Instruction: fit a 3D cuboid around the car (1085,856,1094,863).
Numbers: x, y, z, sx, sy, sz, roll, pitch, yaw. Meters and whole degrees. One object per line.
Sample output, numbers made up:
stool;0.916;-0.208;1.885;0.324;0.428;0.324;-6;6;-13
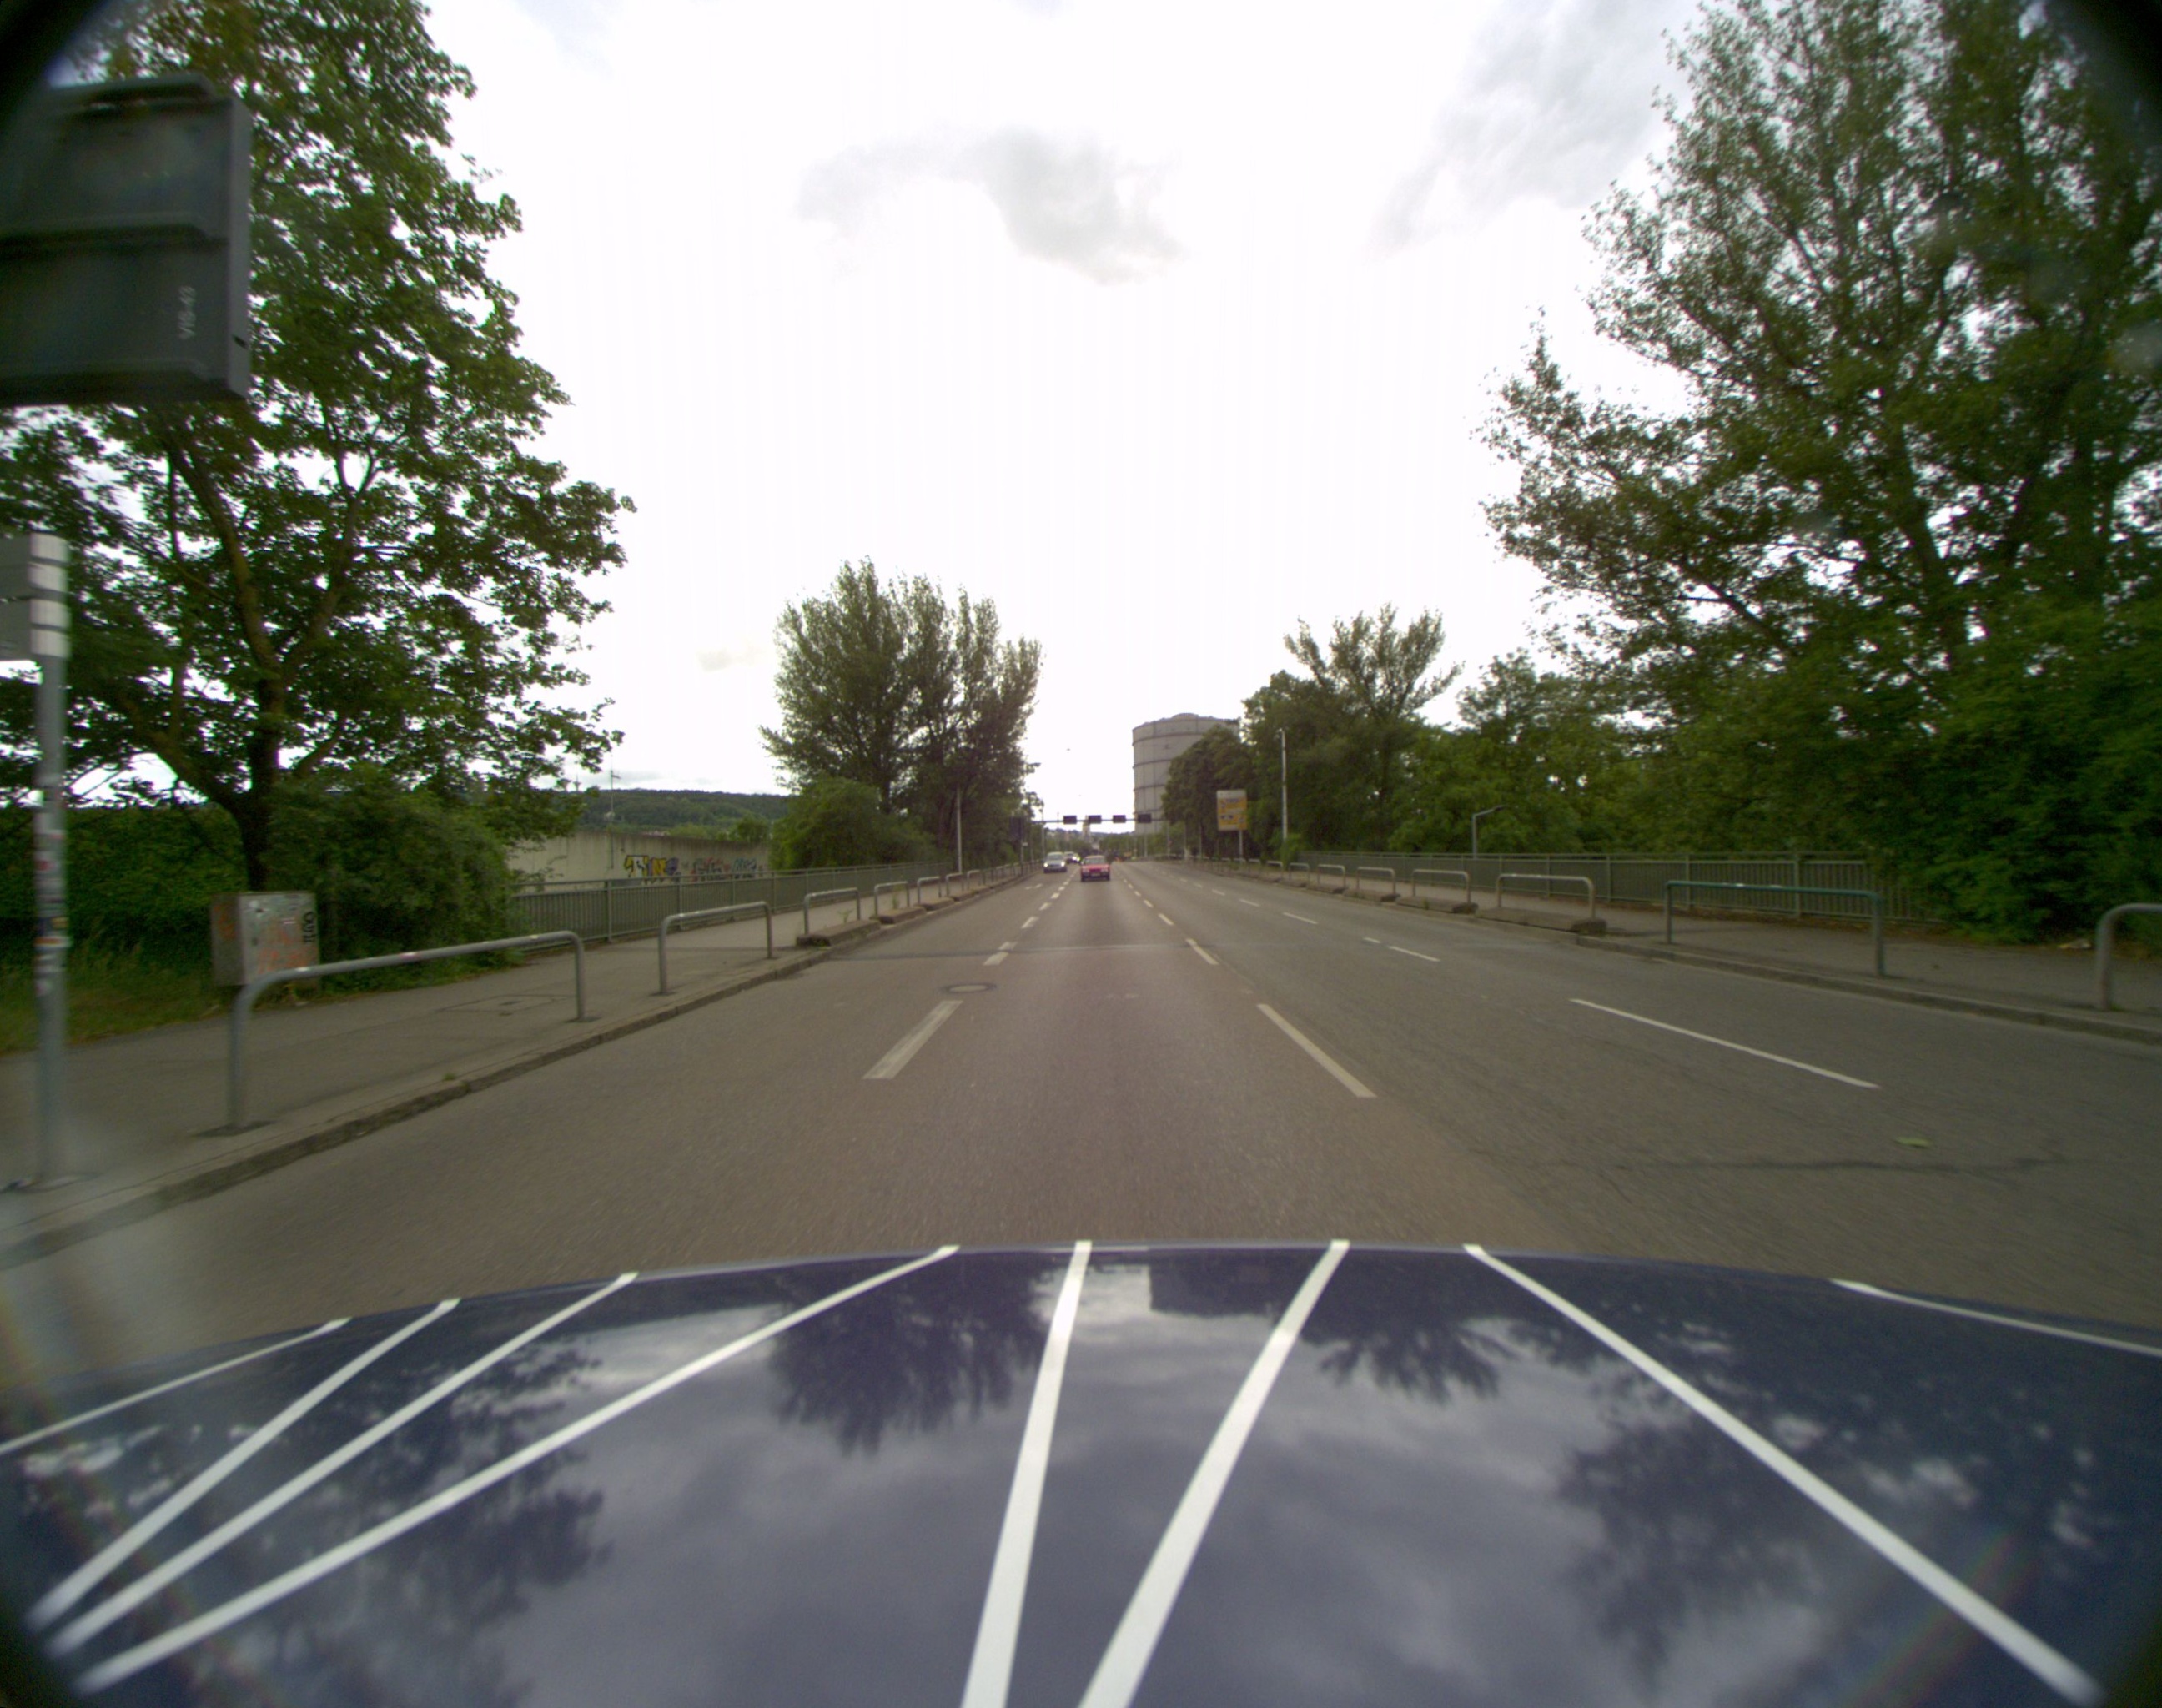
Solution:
car;2.234;1.563;206.581;1.998;1.792;4.001;-3;0;4

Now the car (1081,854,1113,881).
car;0.904;0.743;42.379;1.696;1.434;4.000;0;0;1

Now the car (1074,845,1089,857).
car;0.071;-0.415;110.972;1.998;1.775;4.001;-2;0;2

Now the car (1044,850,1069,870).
car;-1.933;0.470;61.982;1.771;1.565;4.000;-1;1;1

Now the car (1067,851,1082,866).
car;-0.814;0.561;94.175;1.776;1.696;4.000;-3;0;0

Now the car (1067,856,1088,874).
car;-0.280;0.985;68.407;1.785;1.507;4.000;-2;0;0
